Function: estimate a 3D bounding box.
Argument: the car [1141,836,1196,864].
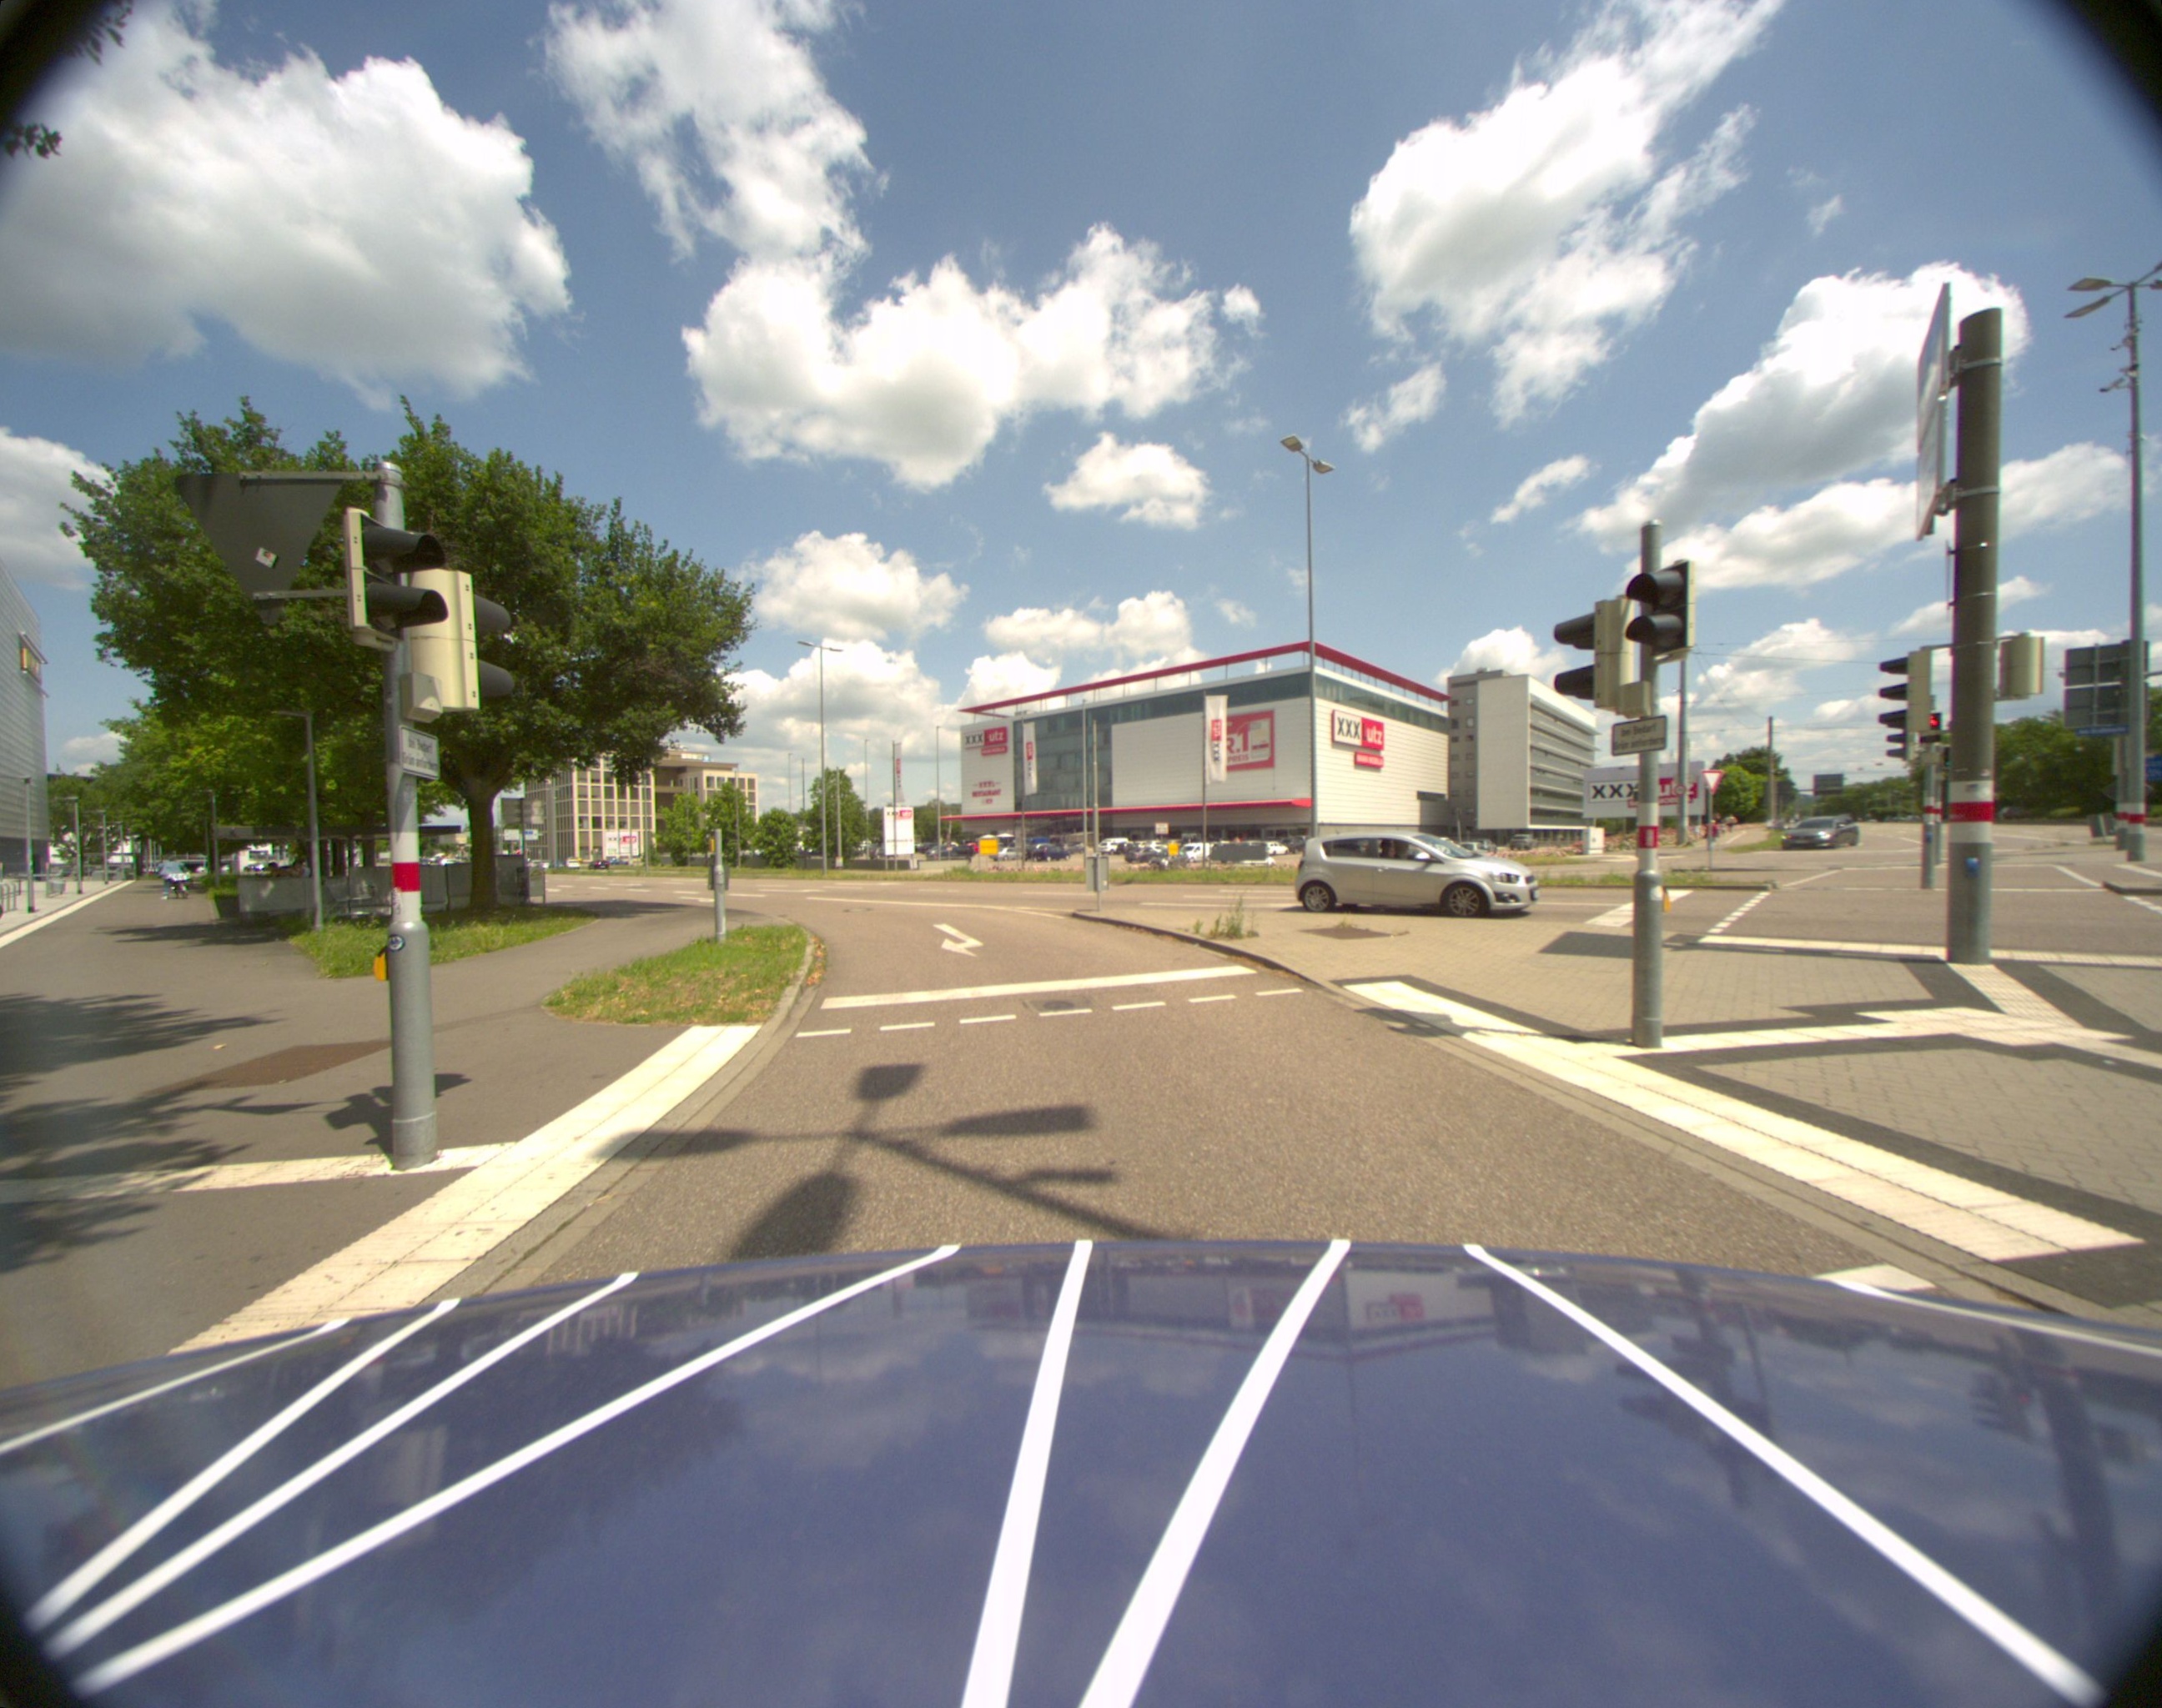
[{"bbox_3d":[6.725,-0.328,58.184,1.994,1.978,4.371,0,1,42],"label":"car"}]

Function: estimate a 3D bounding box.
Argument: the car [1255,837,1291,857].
[{"bbox_3d":[20.175,-0.764,79.704,1.994,1.978,4.094,0,1,42],"label":"car"}]

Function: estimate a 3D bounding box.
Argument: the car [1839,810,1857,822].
[{"bbox_3d":[138.293,-6.874,136.915,4.008,2.002,1.994,-1,1,-41],"label":"car"}]

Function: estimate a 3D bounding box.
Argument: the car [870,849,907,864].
[{"bbox_3d":[-25.990,0.329,102.501,1.994,1.977,4.371,-2,0,42],"label":"car"}]

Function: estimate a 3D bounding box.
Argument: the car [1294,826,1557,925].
[{"bbox_3d":[6.054,0.374,13.548,3.823,1.461,1.904,-3,2,42],"label":"car"}]

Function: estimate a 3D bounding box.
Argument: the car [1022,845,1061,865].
[{"bbox_3d":[-4.231,0.066,82.421,1.837,1.978,4.092,0,3,42],"label":"car"}]

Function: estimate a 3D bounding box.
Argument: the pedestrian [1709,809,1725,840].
[{"bbox_3d":[37.201,-1.699,44.448,0.535,1.800,0.595,-2,1,-37],"label":"pedestrian"}]

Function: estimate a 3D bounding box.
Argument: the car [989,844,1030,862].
[{"bbox_3d":[-8.003,-0.130,85.287,1.994,1.978,4.371,0,1,42],"label":"car"}]

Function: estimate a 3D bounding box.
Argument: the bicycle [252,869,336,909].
[{"bbox_3d":[-26.030,1.148,25.160,0.422,1.224,1.872,0,1,38],"label":"bicycle"}]

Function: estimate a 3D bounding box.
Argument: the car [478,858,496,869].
[{"bbox_3d":[-95.582,1.582,122.253,1.801,1.635,4.159,-2,0,-44],"label":"car"}]

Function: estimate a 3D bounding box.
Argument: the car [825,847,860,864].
[{"bbox_3d":[-34.725,0.180,110.671,1.994,2.316,4.371,0,1,42],"label":"car"}]

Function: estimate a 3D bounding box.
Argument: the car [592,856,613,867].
[{"bbox_3d":[-66.908,1.001,106.255,1.628,1.461,4.104,-2,1,-44],"label":"car"}]

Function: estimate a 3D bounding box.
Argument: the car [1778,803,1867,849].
[{"bbox_3d":[34.654,-1.285,35.492,4.006,2.002,1.995,-1,1,-31],"label":"car"}]

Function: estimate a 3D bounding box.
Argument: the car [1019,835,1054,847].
[{"bbox_3d":[-6.576,-1.961,112.934,2.192,1.768,5.144,-1,1,42],"label":"car"}]

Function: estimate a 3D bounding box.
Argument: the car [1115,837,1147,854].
[{"bbox_3d":[6.170,-1.044,93.231,1.772,2.002,4.008,-1,1,42],"label":"car"}]

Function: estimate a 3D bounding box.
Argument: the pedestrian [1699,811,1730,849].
[{"bbox_3d":[30.874,-1.173,37.042,0.866,1.828,0.798,-2,4,14],"label":"pedestrian"}]

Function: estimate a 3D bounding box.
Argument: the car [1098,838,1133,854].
[{"bbox_3d":[4.354,-1.030,95.149,1.994,1.978,4.371,0,1,42],"label":"car"}]

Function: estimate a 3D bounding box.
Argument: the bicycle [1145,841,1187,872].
[{"bbox_3d":[4.689,0.129,41.846,2.042,1.666,1.023,-1,1,43],"label":"bicycle"}]

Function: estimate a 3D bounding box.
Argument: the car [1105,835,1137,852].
[{"bbox_3d":[5.513,-1.441,103.778,1.864,2.293,4.580,0,1,42],"label":"car"}]

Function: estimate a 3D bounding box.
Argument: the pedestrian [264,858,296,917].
[{"bbox_3d":[-23.023,0.946,21.838,0.477,1.653,0.547,0,1,41],"label":"pedestrian"}]

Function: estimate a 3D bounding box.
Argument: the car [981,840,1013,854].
[{"bbox_3d":[-12.126,-1.054,110.192,1.994,1.978,4.371,0,1,42],"label":"car"}]

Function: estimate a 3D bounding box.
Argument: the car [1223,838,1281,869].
[{"bbox_3d":[11.862,-0.062,52.648,1.994,1.978,4.371,0,1,42],"label":"car"}]

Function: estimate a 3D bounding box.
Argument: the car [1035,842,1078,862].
[{"bbox_3d":[-2.597,-0.228,80.627,1.994,1.978,4.371,0,2,42],"label":"car"}]

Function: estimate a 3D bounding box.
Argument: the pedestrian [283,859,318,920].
[{"bbox_3d":[-21.822,0.982,21.240,0.547,1.653,0.544,-2,1,-36],"label":"pedestrian"}]

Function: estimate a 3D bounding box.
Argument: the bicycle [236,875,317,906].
[{"bbox_3d":[-27.823,1.242,26.309,0.422,0.989,1.872,1,1,38],"label":"bicycle"}]

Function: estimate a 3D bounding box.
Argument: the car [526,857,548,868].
[{"bbox_3d":[-78.627,1.248,109.835,4.831,1.394,1.801,-1,1,45],"label":"car"}]

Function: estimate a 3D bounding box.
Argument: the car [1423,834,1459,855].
[{"bbox_3d":[34.982,-0.927,73.839,1.994,1.978,4.371,0,1,42],"label":"car"}]

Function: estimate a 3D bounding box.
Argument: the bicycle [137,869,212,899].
[{"bbox_3d":[-35.114,1.156,29.443,2.014,1.101,0.577,0,1,-5],"label":"bicycle"}]

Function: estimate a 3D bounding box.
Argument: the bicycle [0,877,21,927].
[{"bbox_3d":[-27.693,1.197,18.453,2.151,1.222,0.719,-1,0,-37],"label":"bicycle"}]

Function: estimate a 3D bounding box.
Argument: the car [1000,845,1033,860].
[{"bbox_3d":[-9.097,-0.256,106.938,1.994,1.978,4.371,0,1,42],"label":"car"}]

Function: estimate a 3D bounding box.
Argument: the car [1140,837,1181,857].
[{"bbox_3d":[8.156,-0.775,77.623,1.994,1.978,4.371,2,3,42],"label":"car"}]

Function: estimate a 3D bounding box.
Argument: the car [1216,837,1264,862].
[{"bbox_3d":[13.700,-0.390,65.216,1.994,1.978,4.605,1,3,42],"label":"car"}]

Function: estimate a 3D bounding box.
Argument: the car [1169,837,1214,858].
[{"bbox_3d":[10.078,-0.618,69.103,1.994,1.829,4.371,0,1,42],"label":"car"}]

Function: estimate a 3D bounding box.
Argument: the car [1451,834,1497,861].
[{"bbox_3d":[29.608,-0.528,57.226,1.994,1.978,4.371,0,1,42],"label":"car"}]

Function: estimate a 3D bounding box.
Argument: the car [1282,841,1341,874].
[{"bbox_3d":[14.996,0.220,49.329,1.994,2.002,4.008,0,1,45],"label":"car"}]

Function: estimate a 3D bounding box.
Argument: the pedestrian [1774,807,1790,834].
[{"bbox_3d":[54.183,-2.582,58.726,0.568,2.002,0.773,-2,1,-26],"label":"pedestrian"}]

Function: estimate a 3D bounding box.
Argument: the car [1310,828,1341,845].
[{"bbox_3d":[29.676,-2.135,92.251,1.994,1.978,4.094,0,1,44],"label":"car"}]

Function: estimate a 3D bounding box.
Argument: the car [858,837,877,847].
[{"bbox_3d":[-43.323,-2.440,154.171,3.822,1.822,1.860,-1,1,42],"label":"car"}]

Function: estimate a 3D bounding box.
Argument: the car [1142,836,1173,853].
[{"bbox_3d":[9.783,-1.196,97.112,1.994,2.002,4.008,-1,1,42],"label":"car"}]

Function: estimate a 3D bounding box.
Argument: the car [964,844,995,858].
[{"bbox_3d":[-15.249,-0.434,114.509,1.994,1.978,4.371,0,1,42],"label":"car"}]

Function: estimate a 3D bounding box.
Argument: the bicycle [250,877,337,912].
[{"bbox_3d":[-25.159,1.264,24.302,0.422,0.989,1.872,2,2,38],"label":"bicycle"}]

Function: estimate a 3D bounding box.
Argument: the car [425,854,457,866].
[{"bbox_3d":[-108.657,1.049,128.956,4.008,2.002,1.994,-1,1,-43],"label":"car"}]

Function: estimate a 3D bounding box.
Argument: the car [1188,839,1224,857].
[{"bbox_3d":[13.805,-0.663,83.976,1.994,1.978,4.094,0,1,42],"label":"car"}]

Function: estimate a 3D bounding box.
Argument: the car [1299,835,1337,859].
[{"bbox_3d":[20.713,-0.635,66.323,1.994,1.978,5.319,0,1,31],"label":"car"}]

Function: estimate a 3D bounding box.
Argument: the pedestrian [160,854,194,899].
[{"bbox_3d":[-35.025,0.860,29.435,0.524,1.712,0.634,0,2,-5],"label":"pedestrian"}]

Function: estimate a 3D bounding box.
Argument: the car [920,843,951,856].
[{"bbox_3d":[-22.890,-0.758,119.817,1.994,1.978,4.371,0,1,42],"label":"car"}]

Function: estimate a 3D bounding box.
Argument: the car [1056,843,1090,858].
[{"bbox_3d":[-1.075,-0.459,100.350,1.994,1.977,4.372,-1,1,44],"label":"car"}]

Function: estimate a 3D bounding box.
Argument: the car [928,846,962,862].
[{"bbox_3d":[-18.461,-0.006,103.221,1.985,2.031,4.309,0,1,42],"label":"car"}]

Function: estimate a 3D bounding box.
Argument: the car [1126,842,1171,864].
[{"bbox_3d":[6.380,-0.100,71.806,1.994,1.978,4.371,0,1,42],"label":"car"}]
